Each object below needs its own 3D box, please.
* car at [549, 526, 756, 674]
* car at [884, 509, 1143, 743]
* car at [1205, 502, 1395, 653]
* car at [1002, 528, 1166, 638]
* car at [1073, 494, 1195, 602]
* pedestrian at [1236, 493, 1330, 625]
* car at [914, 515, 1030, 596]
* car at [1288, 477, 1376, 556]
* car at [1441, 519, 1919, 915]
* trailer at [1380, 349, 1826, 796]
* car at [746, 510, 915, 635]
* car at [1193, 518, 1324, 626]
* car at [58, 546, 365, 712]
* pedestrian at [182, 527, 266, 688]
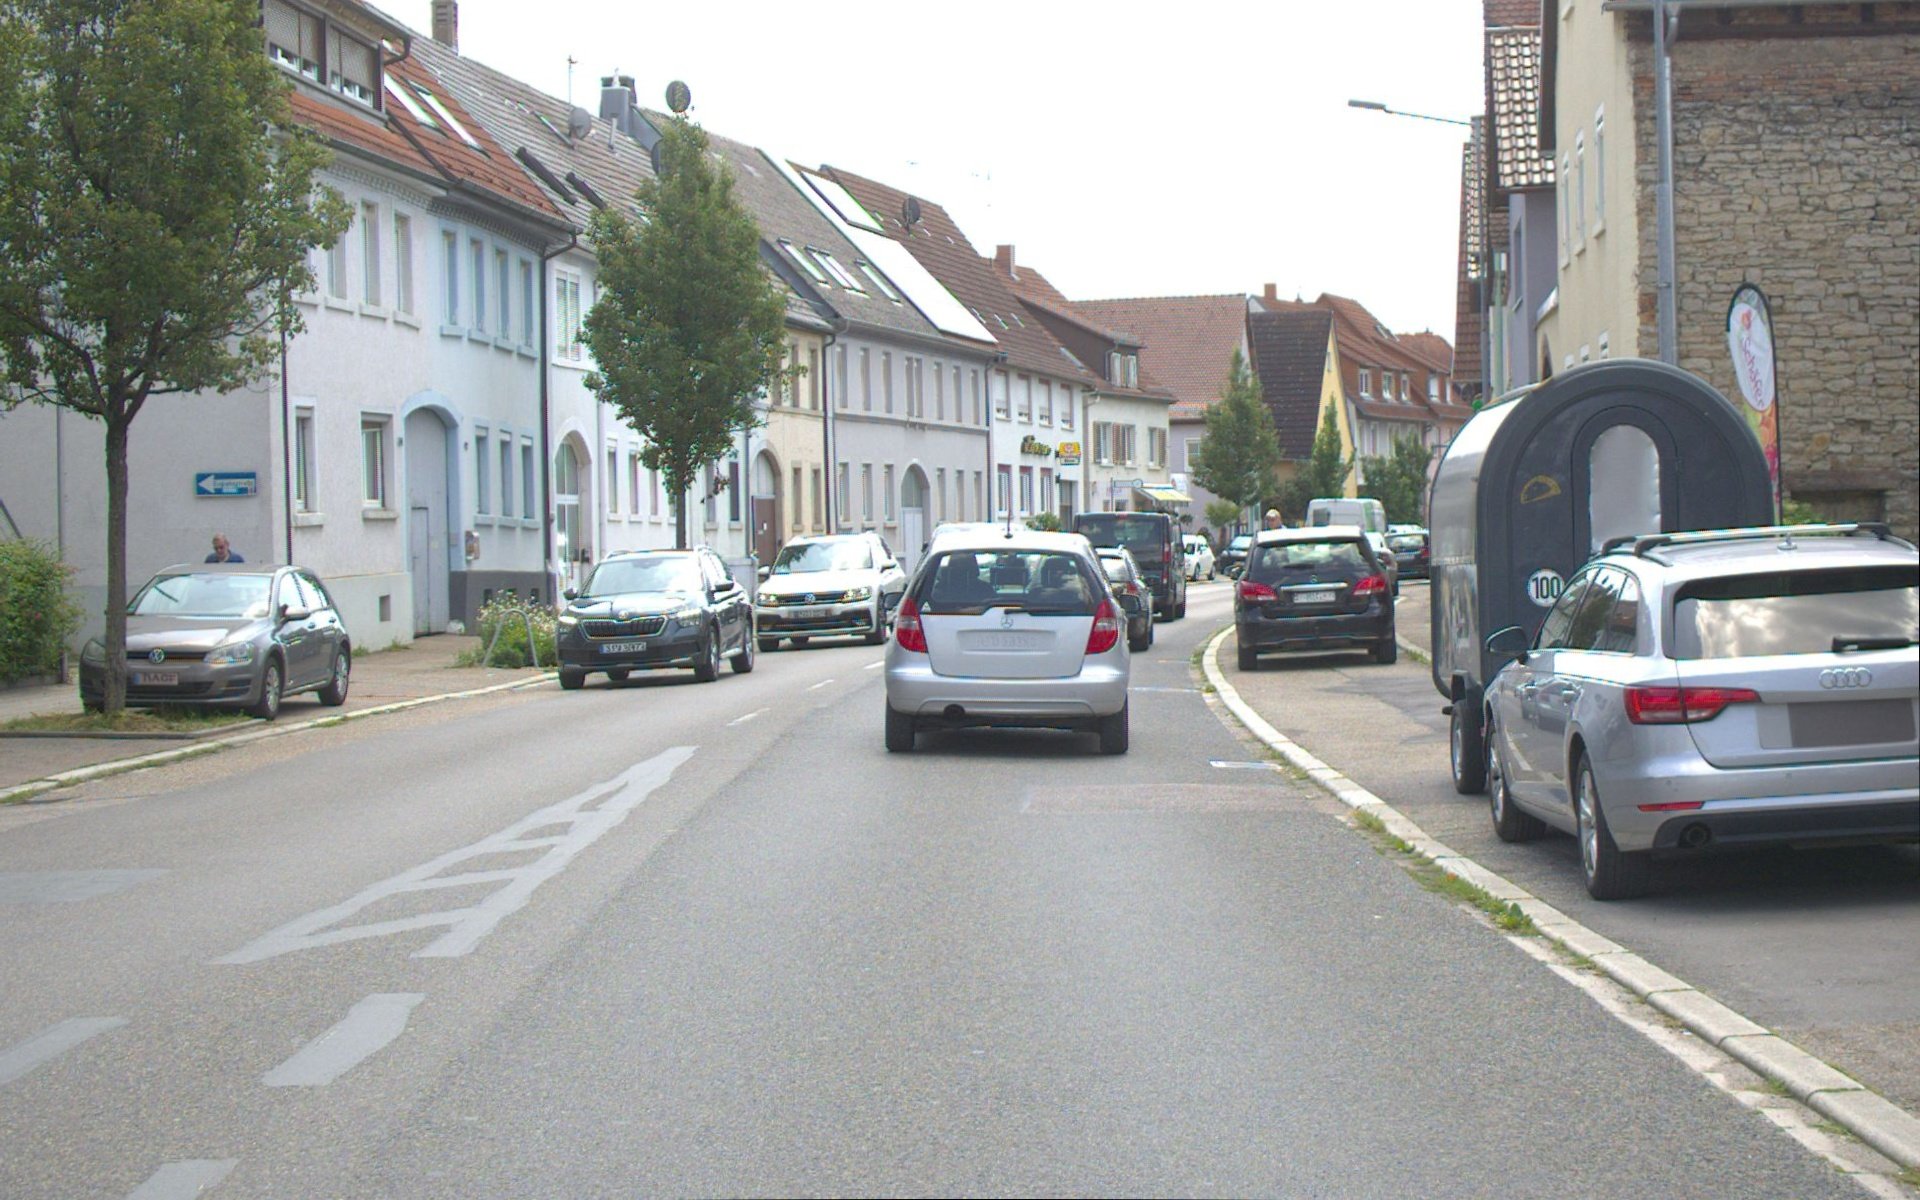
[{"bbox_3d":[-3.476,-0.042,39.561,1.743,1.521,4.019,-3,1,3],"label":"car"},{"bbox_3d":[0.354,0.159,25.944,1.769,1.589,4.000,1,1,0],"label":"car"},{"bbox_3d":[3.935,-0.296,39.398,1.994,1.554,3.999,-2,1,7],"label":"car"},{"bbox_3d":[1.742,-0.245,47.184,1.945,1.402,3.999,1,1,6],"label":"car"},{"bbox_3d":[3.239,-0.951,63.308,1.769,1.881,4.445,1,1,8],"label":"car"},{"bbox_3d":[4.548,-0.584,48.349,1.096,1.815,1.469,-1,1,13],"label":"pedestrian"},{"bbox_3d":[0.319,-1.107,84.140,2.092,1.877,3.998,-1,1,11],"label":"car"},{"bbox_3d":[11.115,-2.465,102.478,2.237,2.214,3.998,-2,0,11],"label":"car"},{"bbox_3d":[3.442,0.395,15.386,1.875,1.476,4.675,-1,1,0],"label":"car"},{"bbox_3d":[3.677,-0.187,20.267,1.845,2.346,3.590,-2,1,-1],"label":"trailer"},{"bbox_3d":[-1.887,-0.448,51.492,1.955,1.778,4.651,0,1,5],"label":"car"},{"bbox_3d":[4.847,-0.453,55.419,1.861,1.620,4.195,-2,0,8],"label":"car"},{"bbox_3d":[-7.106,0.233,33.039,1.804,1.455,4.158,0,1,4],"label":"car"},{"bbox_3d":[-8.352,0.082,39.028,0.739,1.795,0.642,-2,0,1],"label":"pedestrian"}]
